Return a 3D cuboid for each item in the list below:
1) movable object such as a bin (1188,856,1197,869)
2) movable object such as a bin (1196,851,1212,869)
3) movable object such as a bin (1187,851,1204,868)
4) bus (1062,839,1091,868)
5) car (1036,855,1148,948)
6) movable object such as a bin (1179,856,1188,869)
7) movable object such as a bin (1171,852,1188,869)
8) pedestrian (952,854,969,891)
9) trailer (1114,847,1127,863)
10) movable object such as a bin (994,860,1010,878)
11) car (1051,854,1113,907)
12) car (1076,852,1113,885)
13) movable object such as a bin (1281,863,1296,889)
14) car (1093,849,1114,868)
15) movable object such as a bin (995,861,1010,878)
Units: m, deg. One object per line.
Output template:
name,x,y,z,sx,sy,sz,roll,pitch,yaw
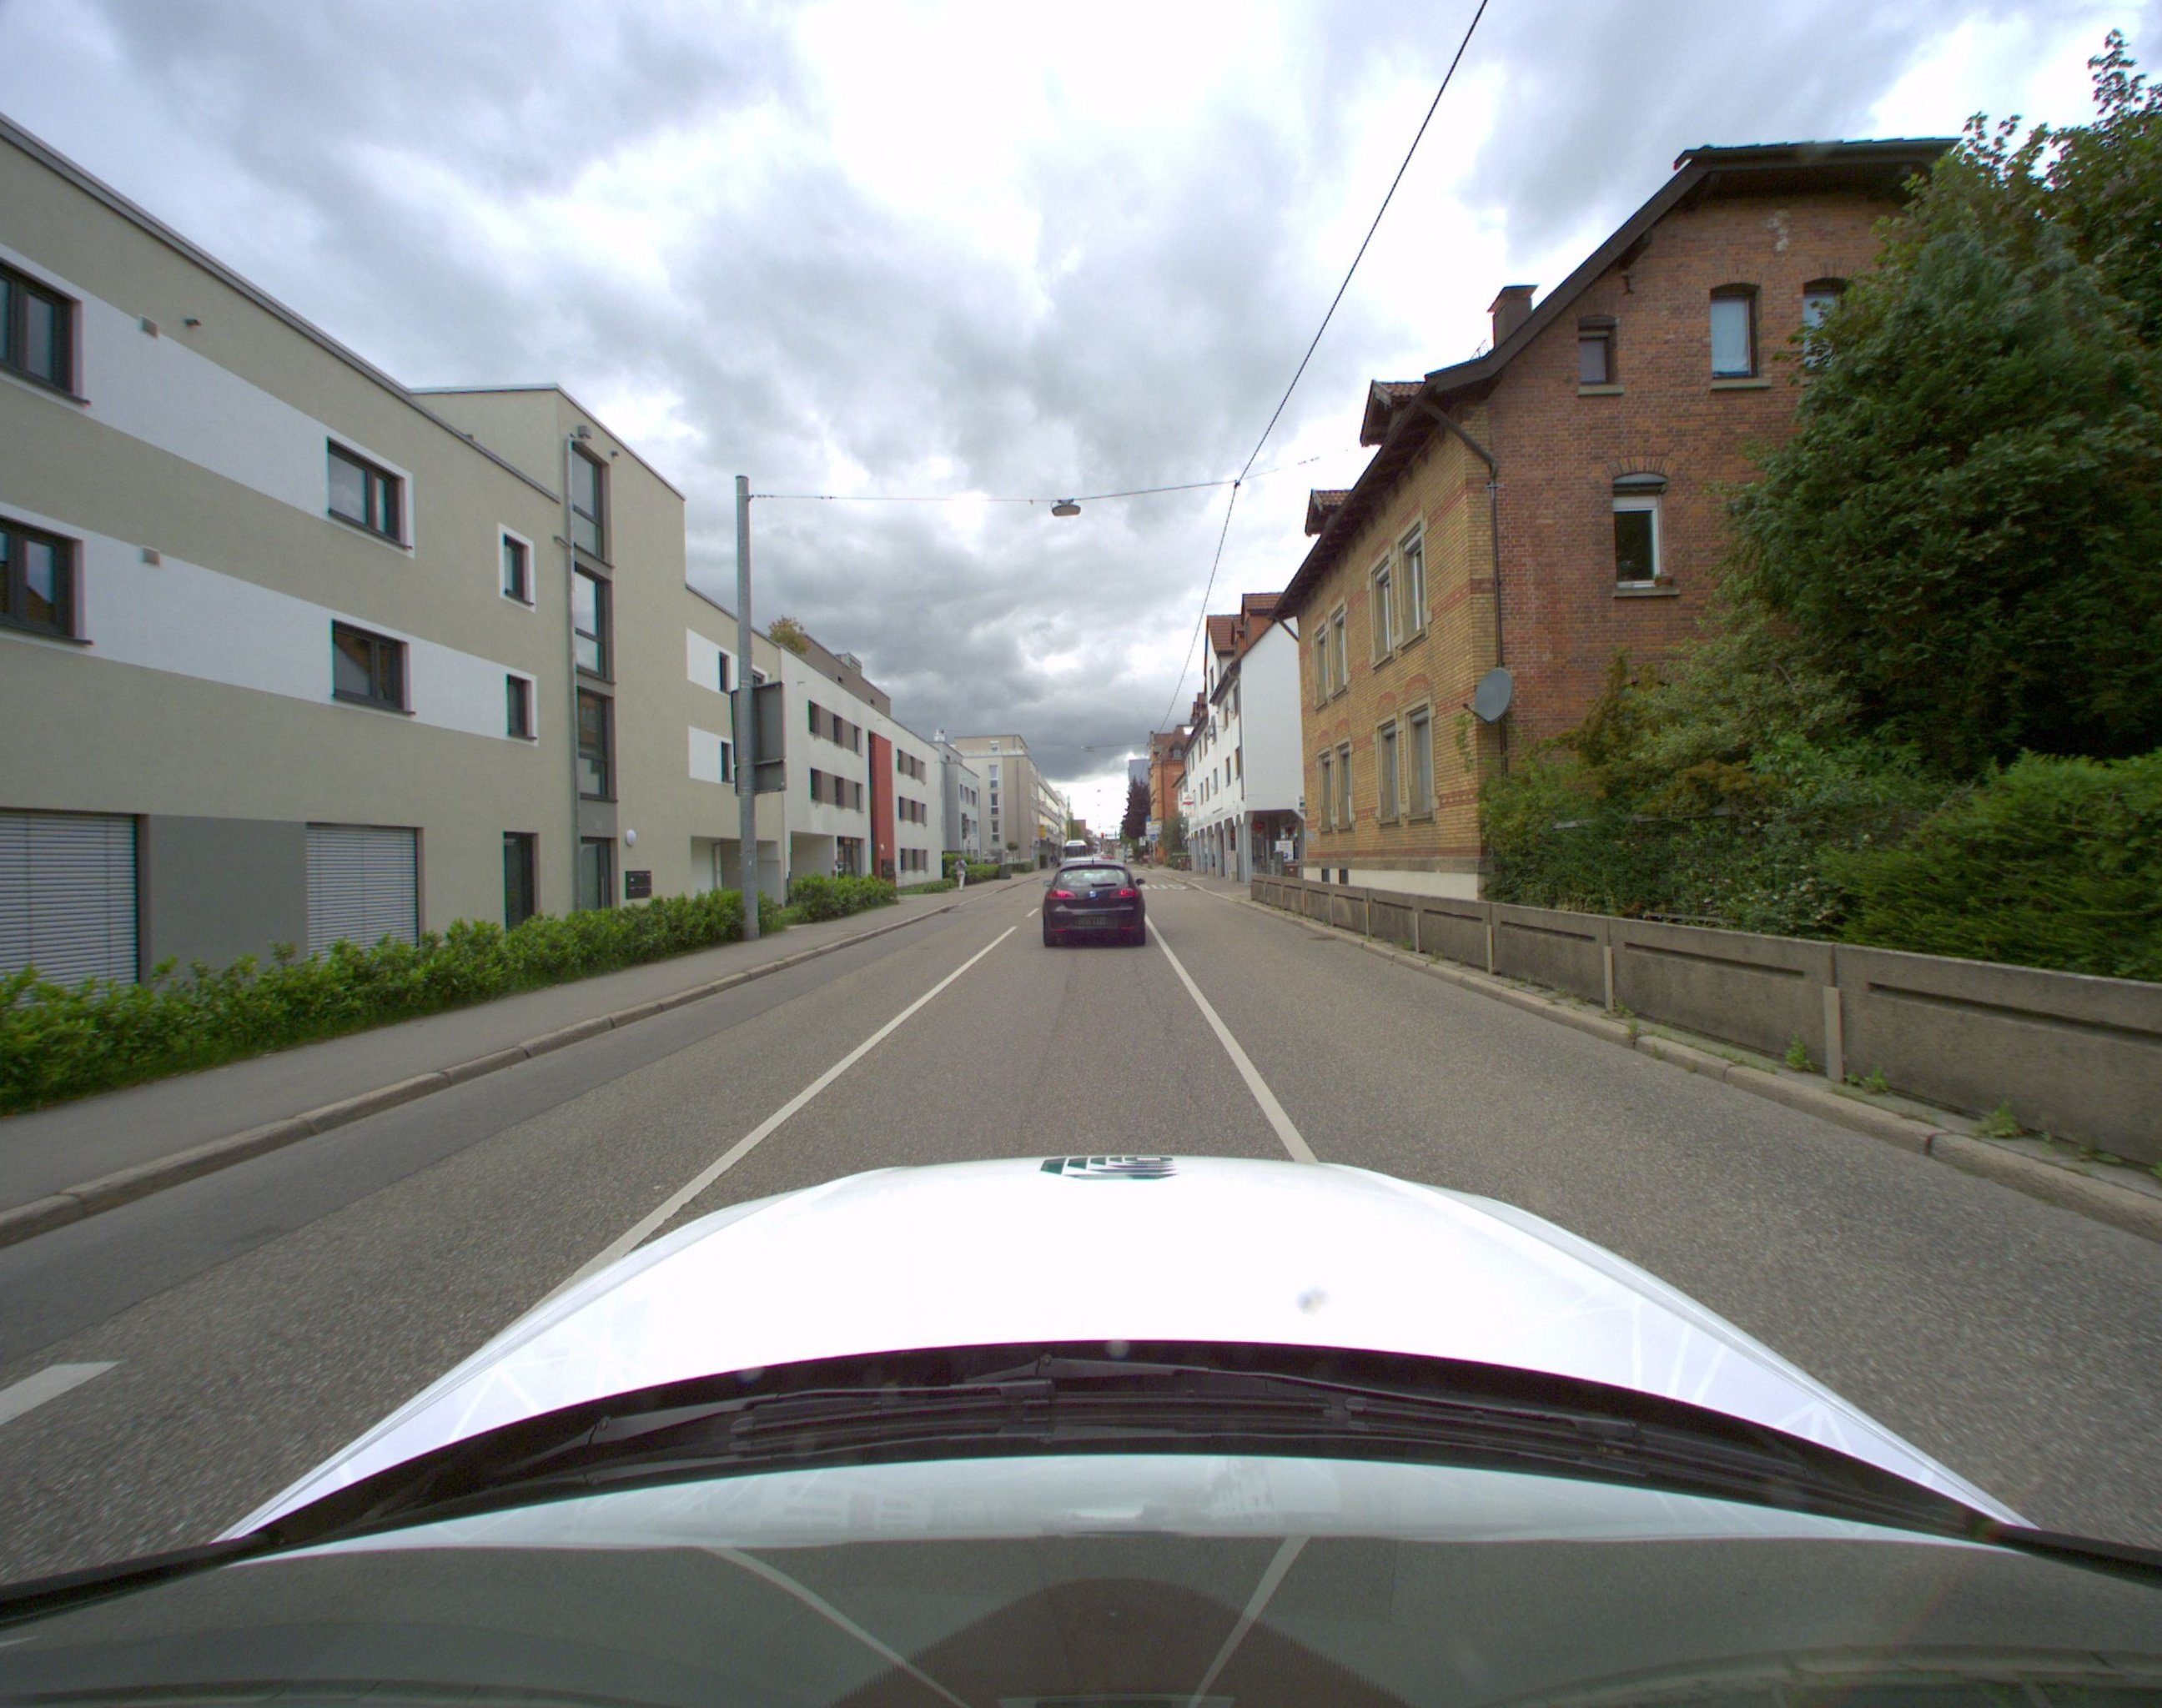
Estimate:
movable object such as a bin,9.171,0.697,67.170,0.694,1.079,0.973,-2,0,5
movable object such as a bin,10.101,0.508,66.802,1.203,1.417,1.261,-2,0,5
movable object such as a bin,9.934,0.472,70.843,1.262,1.435,1.308,-2,0,2
bus,-0.454,-0.072,101.045,2.932,3.274,12.012,-3,0,1
car,0.235,0.765,14.952,1.759,1.433,3.830,-2,0,2
movable object such as a bin,8.446,0.717,67.212,0.680,1.067,0.973,-2,0,5
movable object such as a bin,8.596,0.538,71.134,1.262,1.417,1.163,-2,0,2
pedestrian,-5.555,0.845,37.621,0.636,1.642,0.520,-2,0,1
trailer,6.496,0.185,135.312,1.986,2.607,5.350,-2,0,1
movable object such as a bin,-5.404,1.010,55.704,0.954,1.151,0.839,-2,0,-3
car,0.081,0.789,26.047,1.797,1.492,3.738,-2,0,1
car,0.709,0.718,42.270,1.797,1.553,3.738,-2,0,1
movable object such as a bin,7.331,0.785,28.815,0.396,0.903,0.456,-2,0,2
car,1.967,0.360,71.304,1.797,1.553,3.738,-2,0,1
movable object such as a bin,-5.279,1.058,54.849,0.892,1.089,0.792,-2,0,-3
